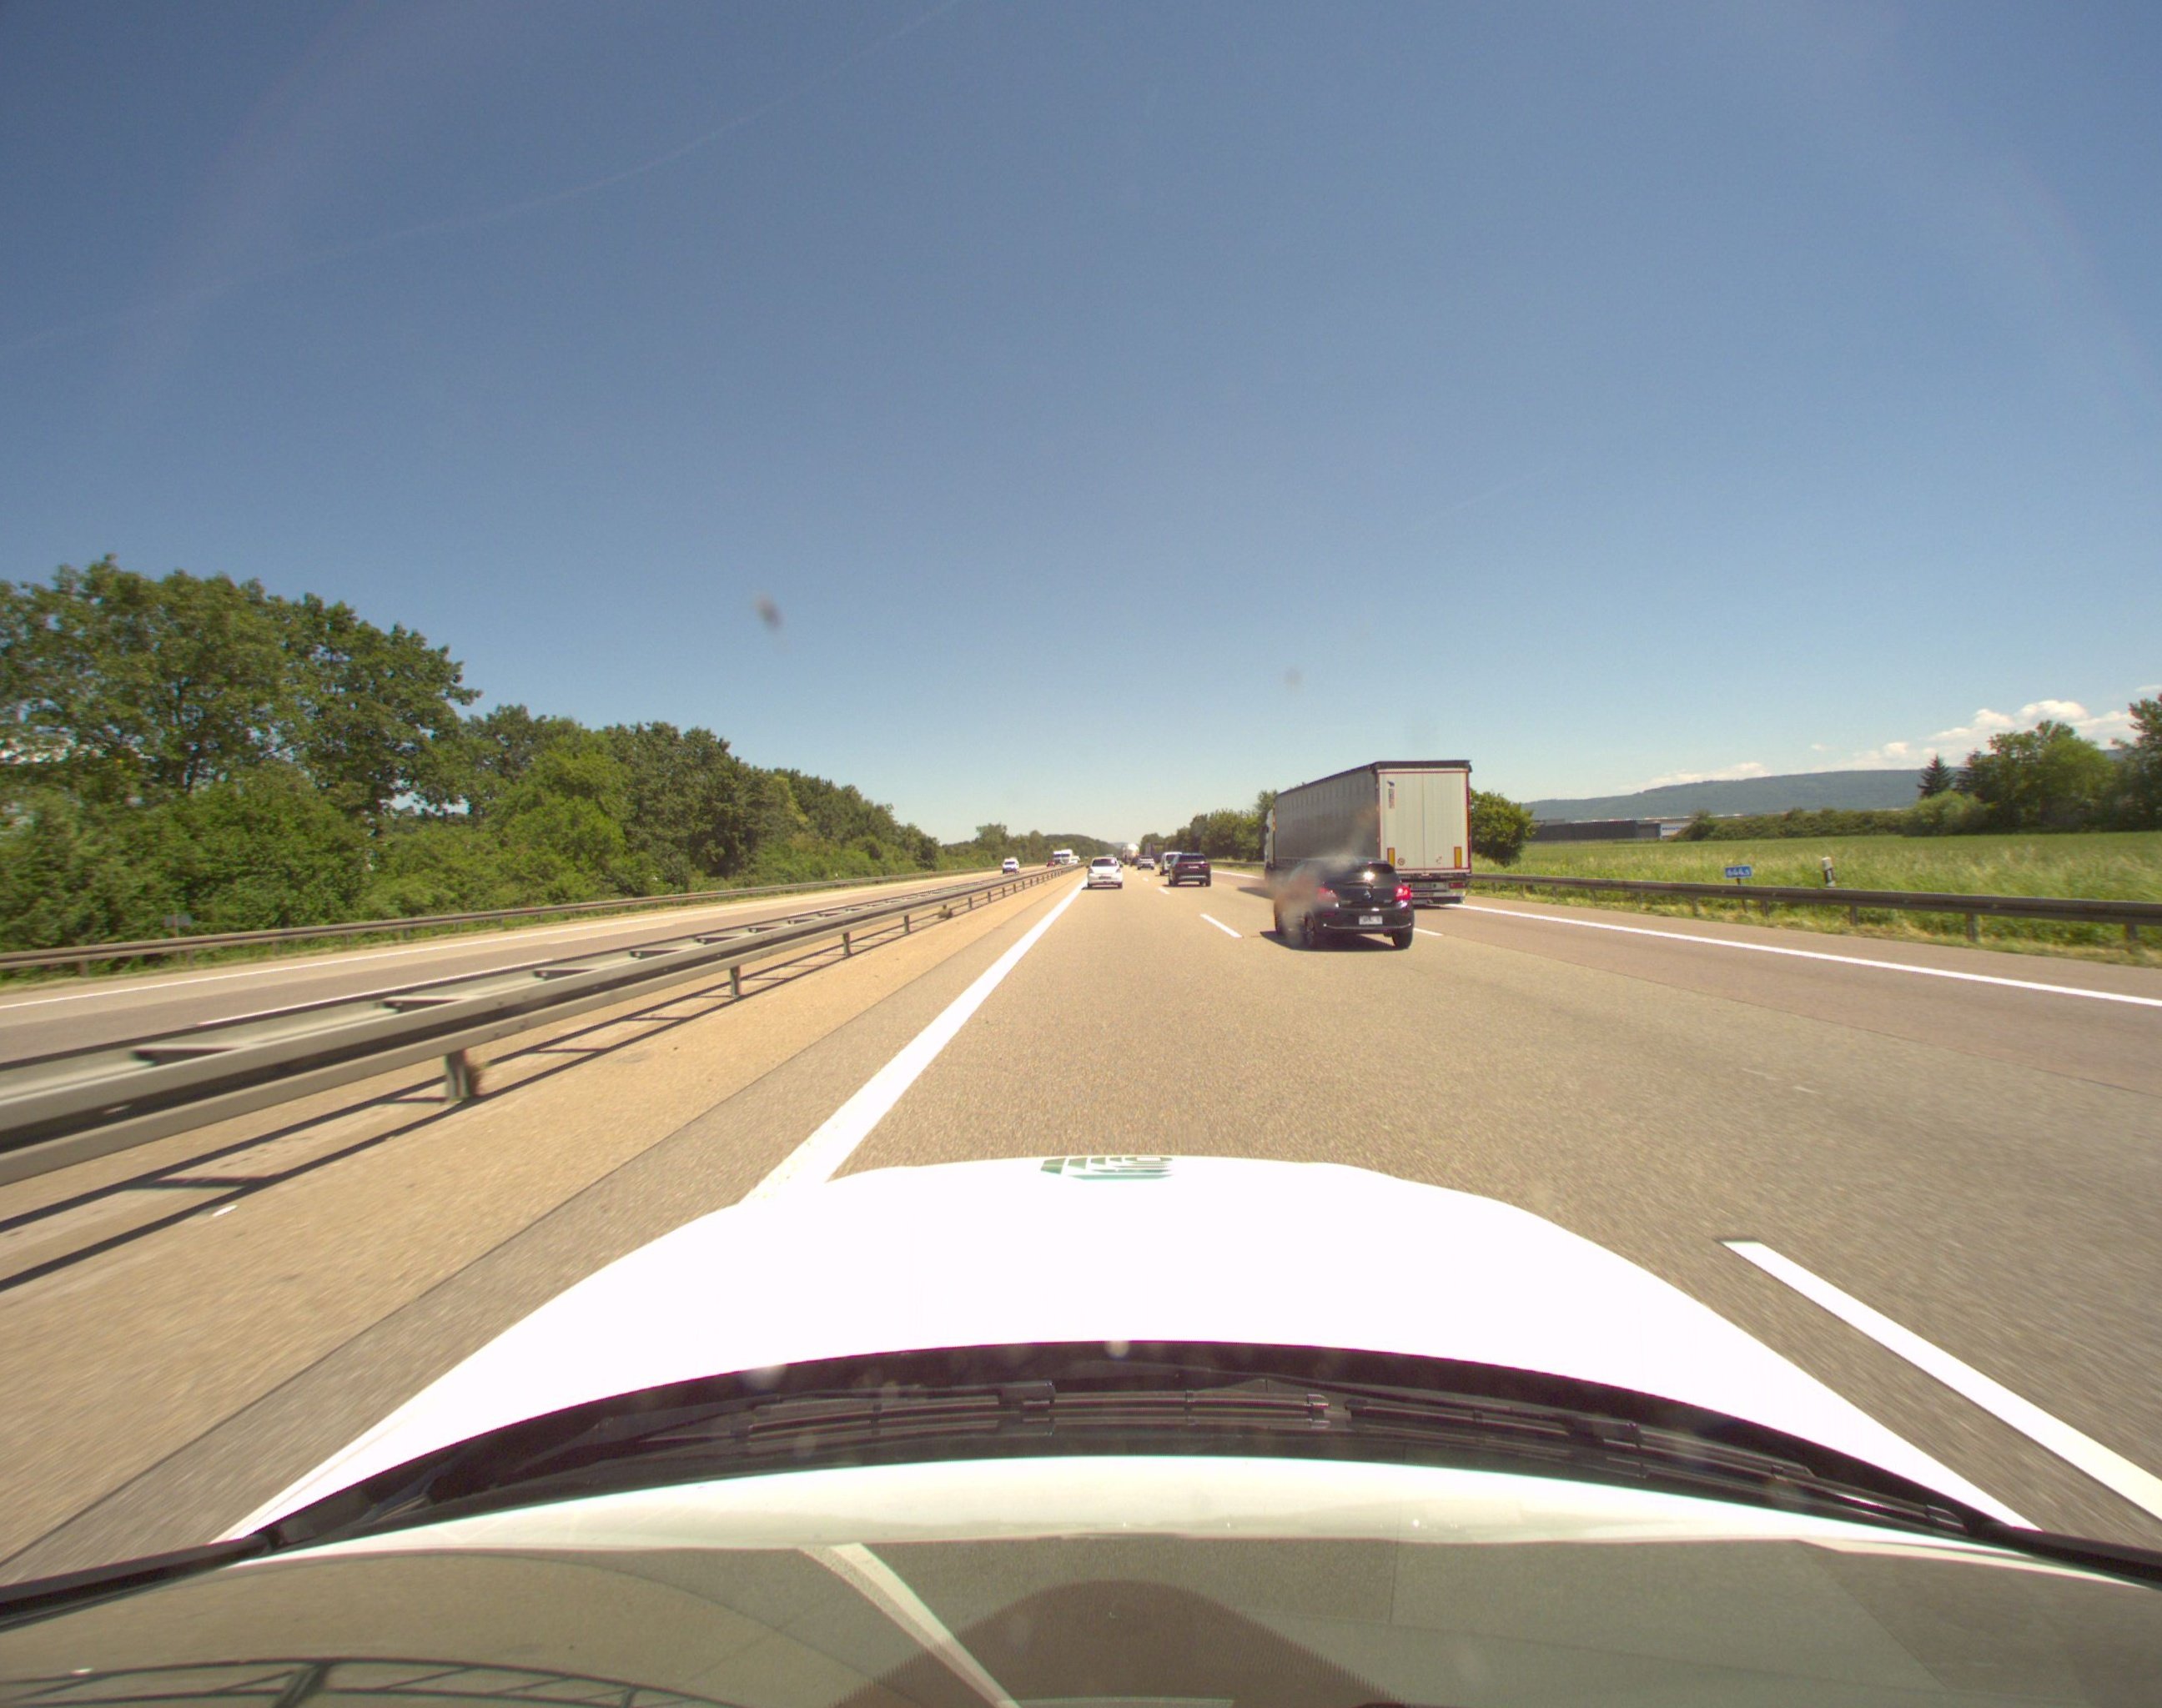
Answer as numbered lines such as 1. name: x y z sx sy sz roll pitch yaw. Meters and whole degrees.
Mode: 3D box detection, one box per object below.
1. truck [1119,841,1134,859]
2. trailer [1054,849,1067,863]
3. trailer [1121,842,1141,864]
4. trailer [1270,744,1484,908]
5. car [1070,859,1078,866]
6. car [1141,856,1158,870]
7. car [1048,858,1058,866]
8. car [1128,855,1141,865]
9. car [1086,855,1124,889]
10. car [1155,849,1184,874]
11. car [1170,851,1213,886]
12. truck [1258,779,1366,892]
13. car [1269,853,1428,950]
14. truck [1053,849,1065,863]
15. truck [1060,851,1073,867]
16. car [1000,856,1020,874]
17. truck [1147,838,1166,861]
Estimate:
1. truck: 11.076 -0.892 198.813 3.380 4.214 12.093 -1 0 3
2. trailer: -6.478 0.584 253.989 2.746 4.103 14.062 -4 -1 3
3. trailer: 9.567 -0.212 156.449 2.903 4.069 12.412 0 0 -1
4. trailer: 9.463 -0.702 28.634 2.799 4.304 14.261 -1 0 2
5. car: -1.586 1.948 190.975 1.713 1.422 3.898 -4 -1 1
6. car: 7.812 1.007 93.216 1.795 1.603 4.383 -1 0 2
7. car: -5.993 1.714 174.574 1.766 1.417 4.111 -4 0 1
8. car: 7.979 0.887 121.167 1.843 1.523 3.959 -1 0 2
9. car: 1.183 0.855 40.092 1.792 1.552 3.611 -1 0 2
10. car: 6.972 0.610 64.527 1.846 1.863 4.703 -1 0 1
11. car: 5.580 0.719 41.698 1.859 1.675 4.751 -1 0 4
12. truck: 9.682 -0.686 34.991 2.799 4.304 7.195 -1 0 2
13. car: 4.485 0.740 14.167 1.681 1.473 3.433 -1 0 1
14. truck: -6.735 0.552 248.313 2.746 4.103 6.156 -4 -1 3
15. truck: -3.956 1.438 225.623 2.728 4.085 6.222 -4 -1 3
16. car: -8.935 1.397 103.420 1.781 2.013 4.383 -4 -1 3
17. truck: 14.409 -0.758 155.921 3.096 4.139 15.523 -1 0 3
